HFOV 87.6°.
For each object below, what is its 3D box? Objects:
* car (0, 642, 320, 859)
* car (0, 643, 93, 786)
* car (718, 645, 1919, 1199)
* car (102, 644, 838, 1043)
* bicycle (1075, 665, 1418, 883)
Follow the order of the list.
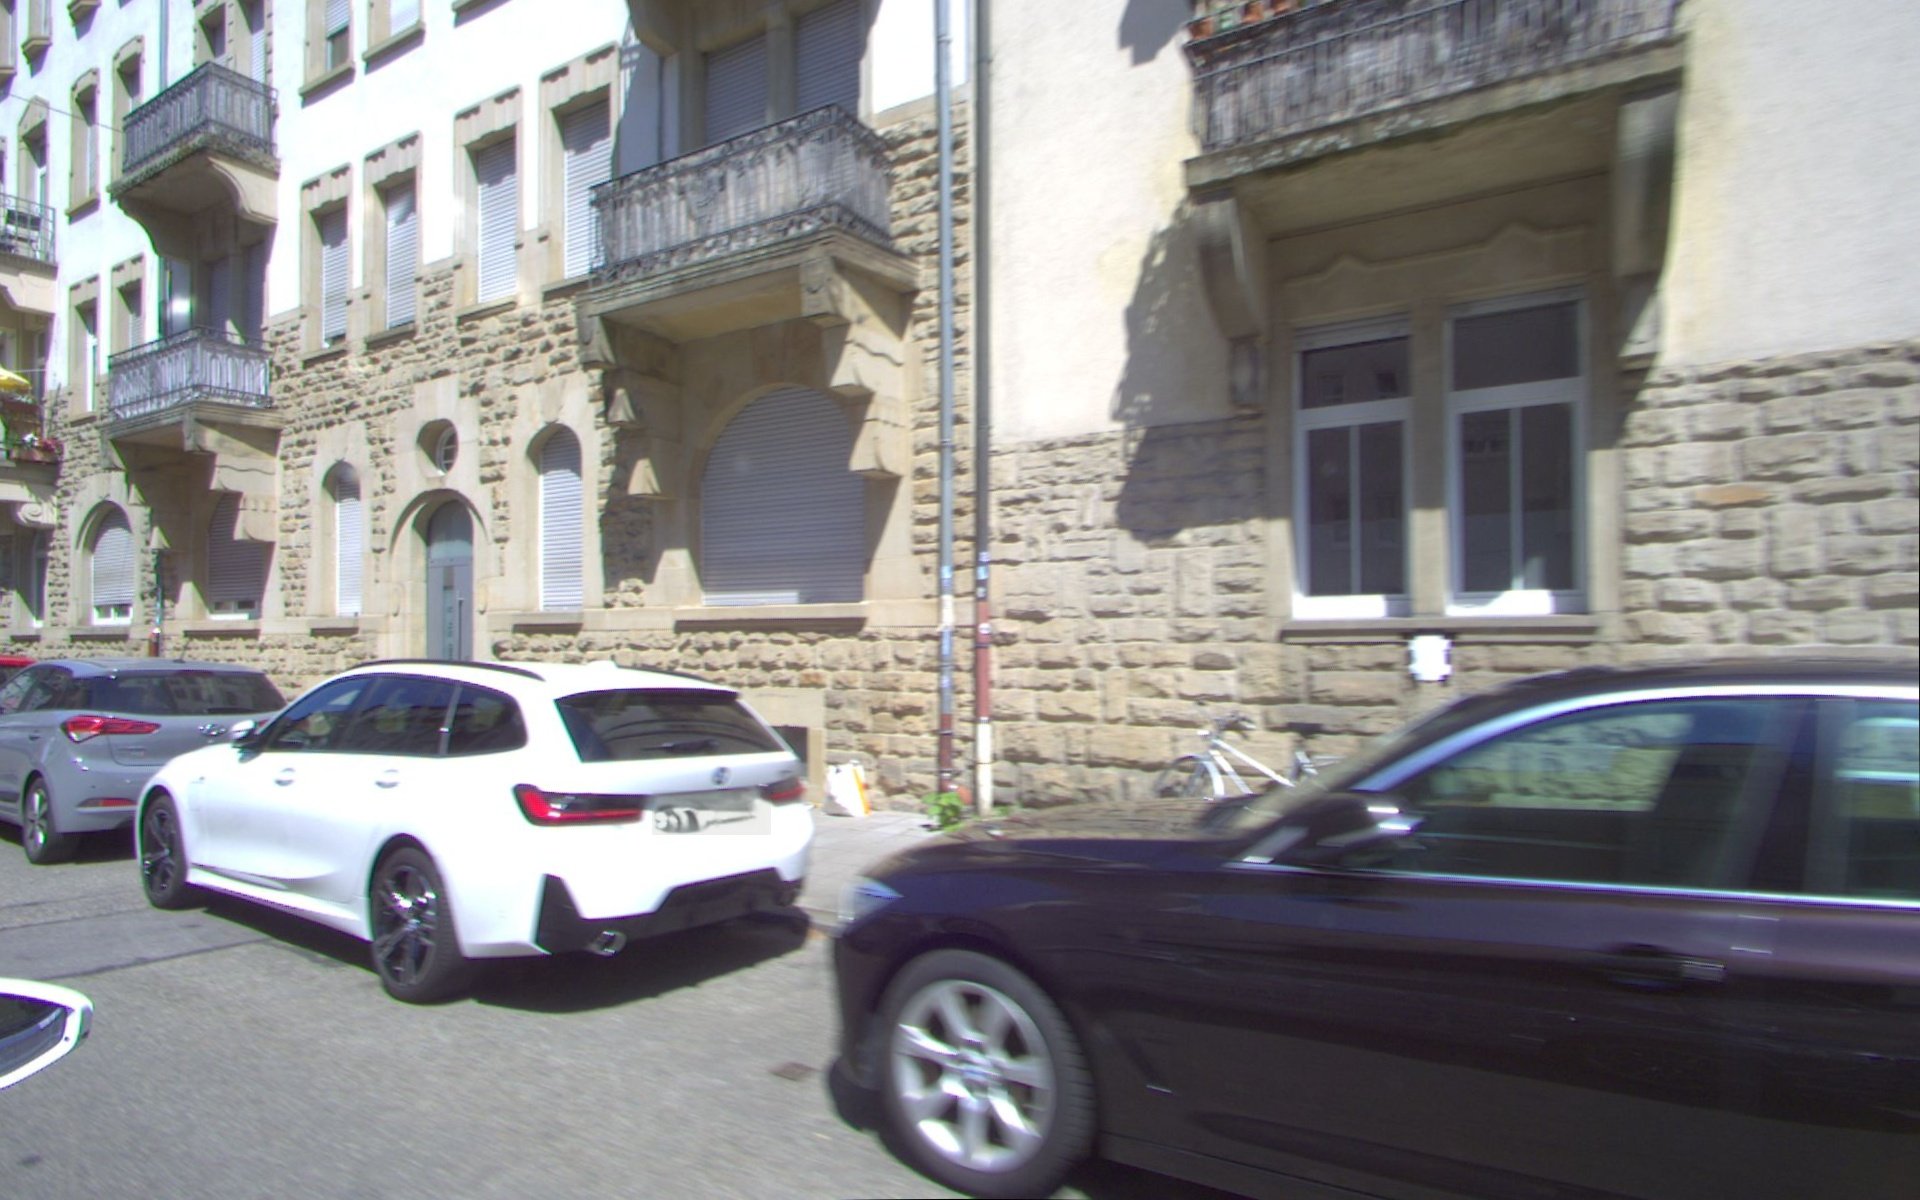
[{"bbox_3d":[-7.263,1.127,8.551,3.803,1.470,1.587,-2,-5,34],"label":"car"},{"bbox_3d":[-11.550,1.223,11.289,3.787,1.470,1.569,-1,-4,32],"label":"car"},{"bbox_3d":[1.614,0.873,2.781,4.601,1.476,1.734,-2,-2,32],"label":"car"},{"bbox_3d":[-2.989,1.019,5.720,4.534,1.470,1.714,-2,-5,34],"label":"car"},{"bbox_3d":[1.869,1.076,6.708,2.095,1.206,0.638,-1,1,33],"label":"bicycle"}]
